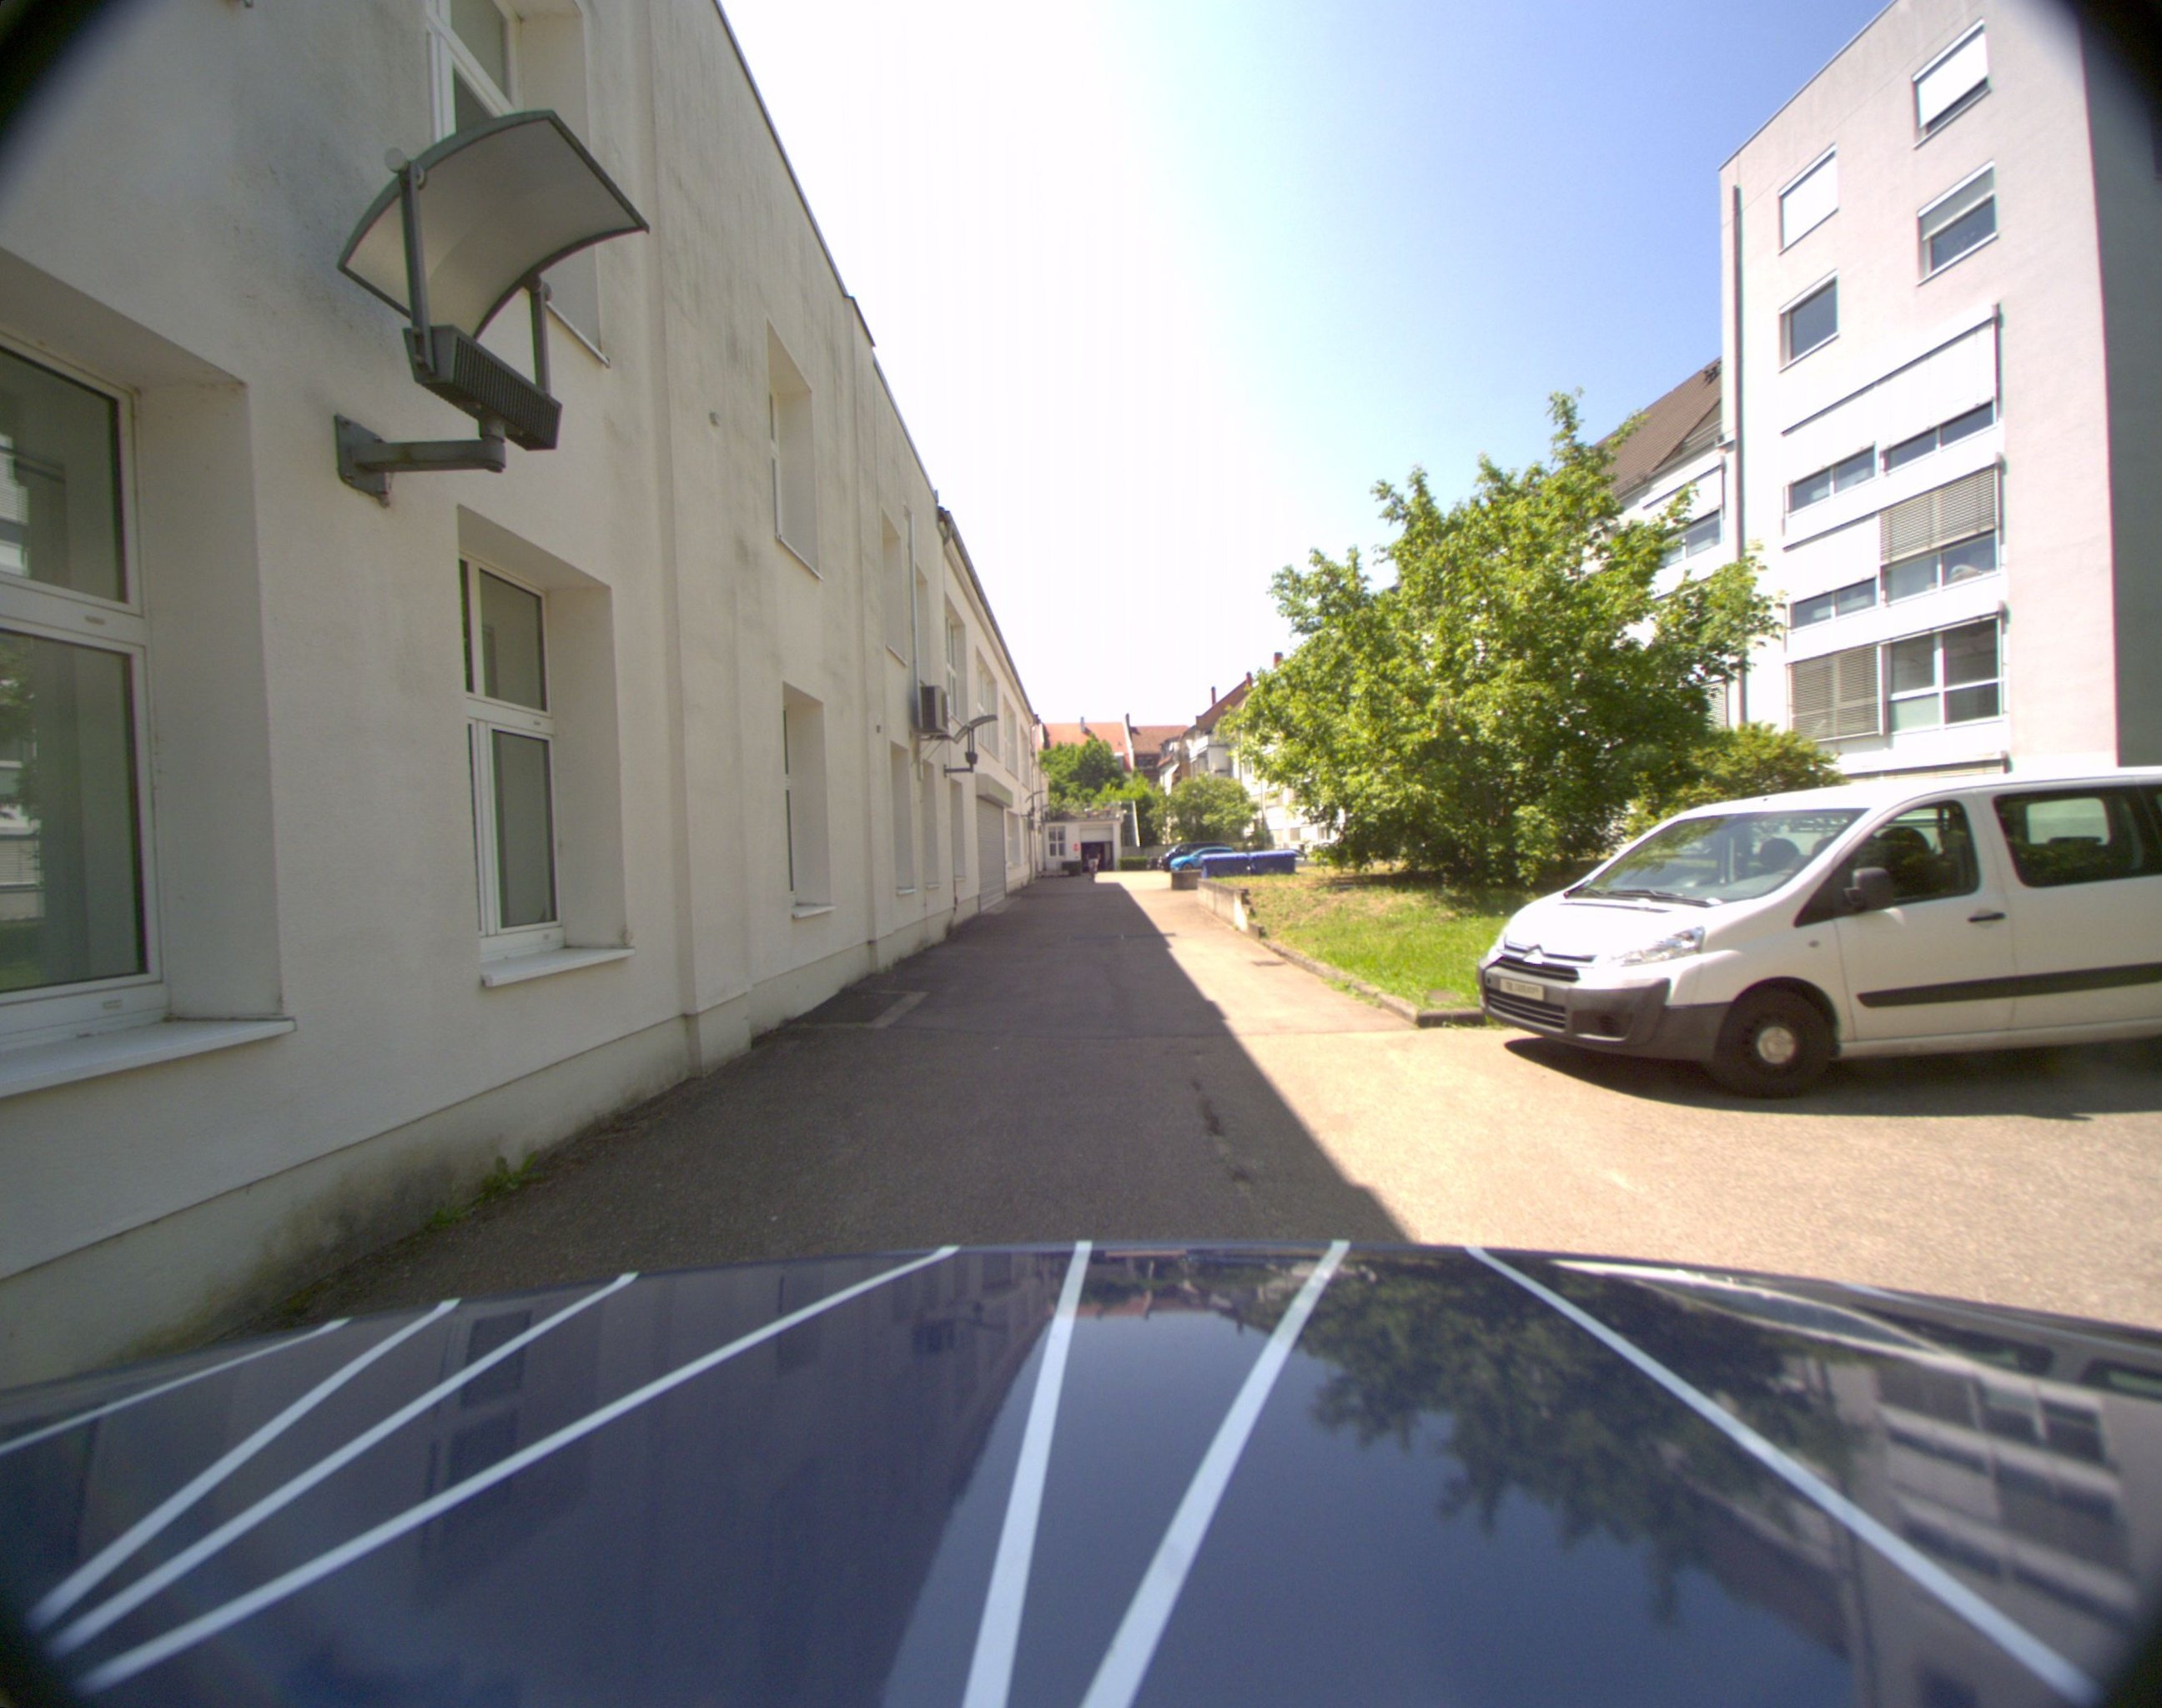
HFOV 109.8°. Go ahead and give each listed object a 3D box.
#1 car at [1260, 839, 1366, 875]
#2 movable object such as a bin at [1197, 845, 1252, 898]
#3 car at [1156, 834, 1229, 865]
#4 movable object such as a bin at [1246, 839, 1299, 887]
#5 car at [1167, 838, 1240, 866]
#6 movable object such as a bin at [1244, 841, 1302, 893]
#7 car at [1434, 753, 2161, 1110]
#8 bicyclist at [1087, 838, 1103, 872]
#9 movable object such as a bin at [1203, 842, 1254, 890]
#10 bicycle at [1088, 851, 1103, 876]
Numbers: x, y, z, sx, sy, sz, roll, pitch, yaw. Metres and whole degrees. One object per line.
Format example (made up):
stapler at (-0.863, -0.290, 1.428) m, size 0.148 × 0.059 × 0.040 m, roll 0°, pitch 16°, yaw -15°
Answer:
car at (10.003, 0.100, 32.920) m, size 3.998 × 1.428 × 1.710 m, roll -1°, pitch 1°, yaw -3°
movable object such as a bin at (3.870, 0.454, 20.598) m, size 1.257 × 1.320 × 1.104 m, roll -3°, pitch 1°, yaw 1°
car at (7.408, -0.309, 50.865) m, size 4.449 × 1.822 × 1.999 m, roll -3°, pitch 1°, yaw -2°
movable object such as a bin at (5.631, 0.242, 22.399) m, size 1.257 × 1.320 × 1.104 m, roll -3°, pitch 1°, yaw 1°
car at (7.723, -0.128, 48.158) m, size 4.168 × 1.544 × 1.858 m, roll -2°, pitch 1°, yaw -4°
movable object such as a bin at (5.190, 0.343, 20.595) m, size 1.257 × 1.320 × 1.104 m, roll -3°, pitch 1°, yaw 1°
car at (5.359, 0.392, 5.358) m, size 4.802 × 1.900 × 1.999 m, roll -2°, pitch 0°, yaw -4°
bicyclist at (0.684, 0.037, 37.486) m, size 0.724 × 1.600 × 0.978 m, roll -3°, pitch 1°, yaw 0°
movable object such as a bin at (4.321, 0.340, 22.371) m, size 1.257 × 1.320 × 1.104 m, roll -3°, pitch 1°, yaw 1°
bicycle at (0.702, 0.457, 37.517) m, size 0.645 × 1.167 × 1.904 m, roll -3°, pitch 1°, yaw 0°
